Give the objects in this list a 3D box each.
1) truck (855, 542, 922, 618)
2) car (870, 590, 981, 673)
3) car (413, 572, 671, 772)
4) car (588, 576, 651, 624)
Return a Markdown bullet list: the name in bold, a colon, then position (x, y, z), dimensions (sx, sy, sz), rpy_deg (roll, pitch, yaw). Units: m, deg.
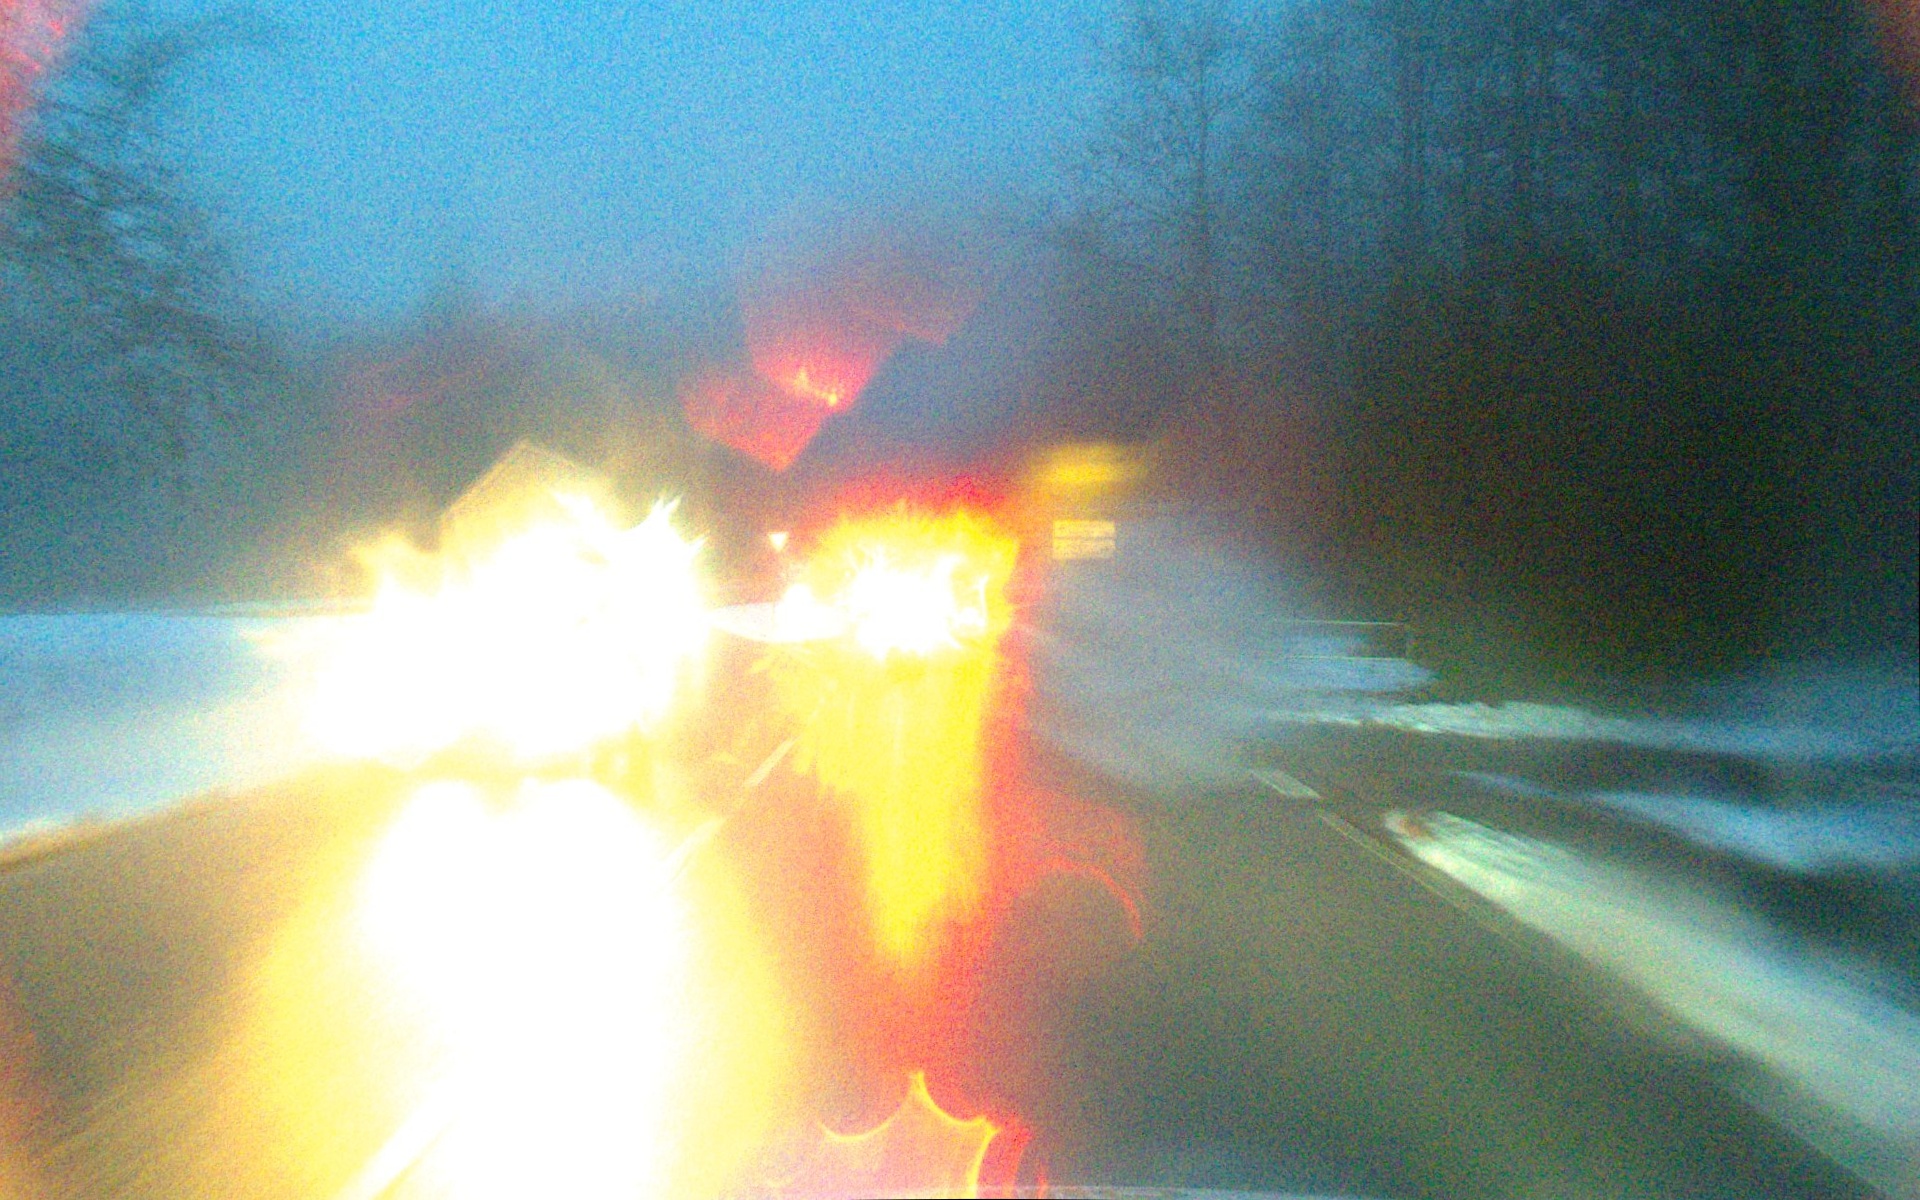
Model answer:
- **truck**: position (-2.780, -0.775, 63.231), dimensions (2.037, 2.793, 5.309), rpy_deg (0, 1, -8)
- **car**: position (-0.704, 0.529, 30.568), dimensions (1.884, 1.299, 3.998), rpy_deg (0, 2, -4)
- **car**: position (-4.100, 0.607, 16.931), dimensions (1.717, 1.722, 4.423), rpy_deg (-2, 1, -3)
- **car**: position (-12.002, -0.022, 58.492), dimensions (1.708, 1.512, 4.000), rpy_deg (-3, 2, -6)
